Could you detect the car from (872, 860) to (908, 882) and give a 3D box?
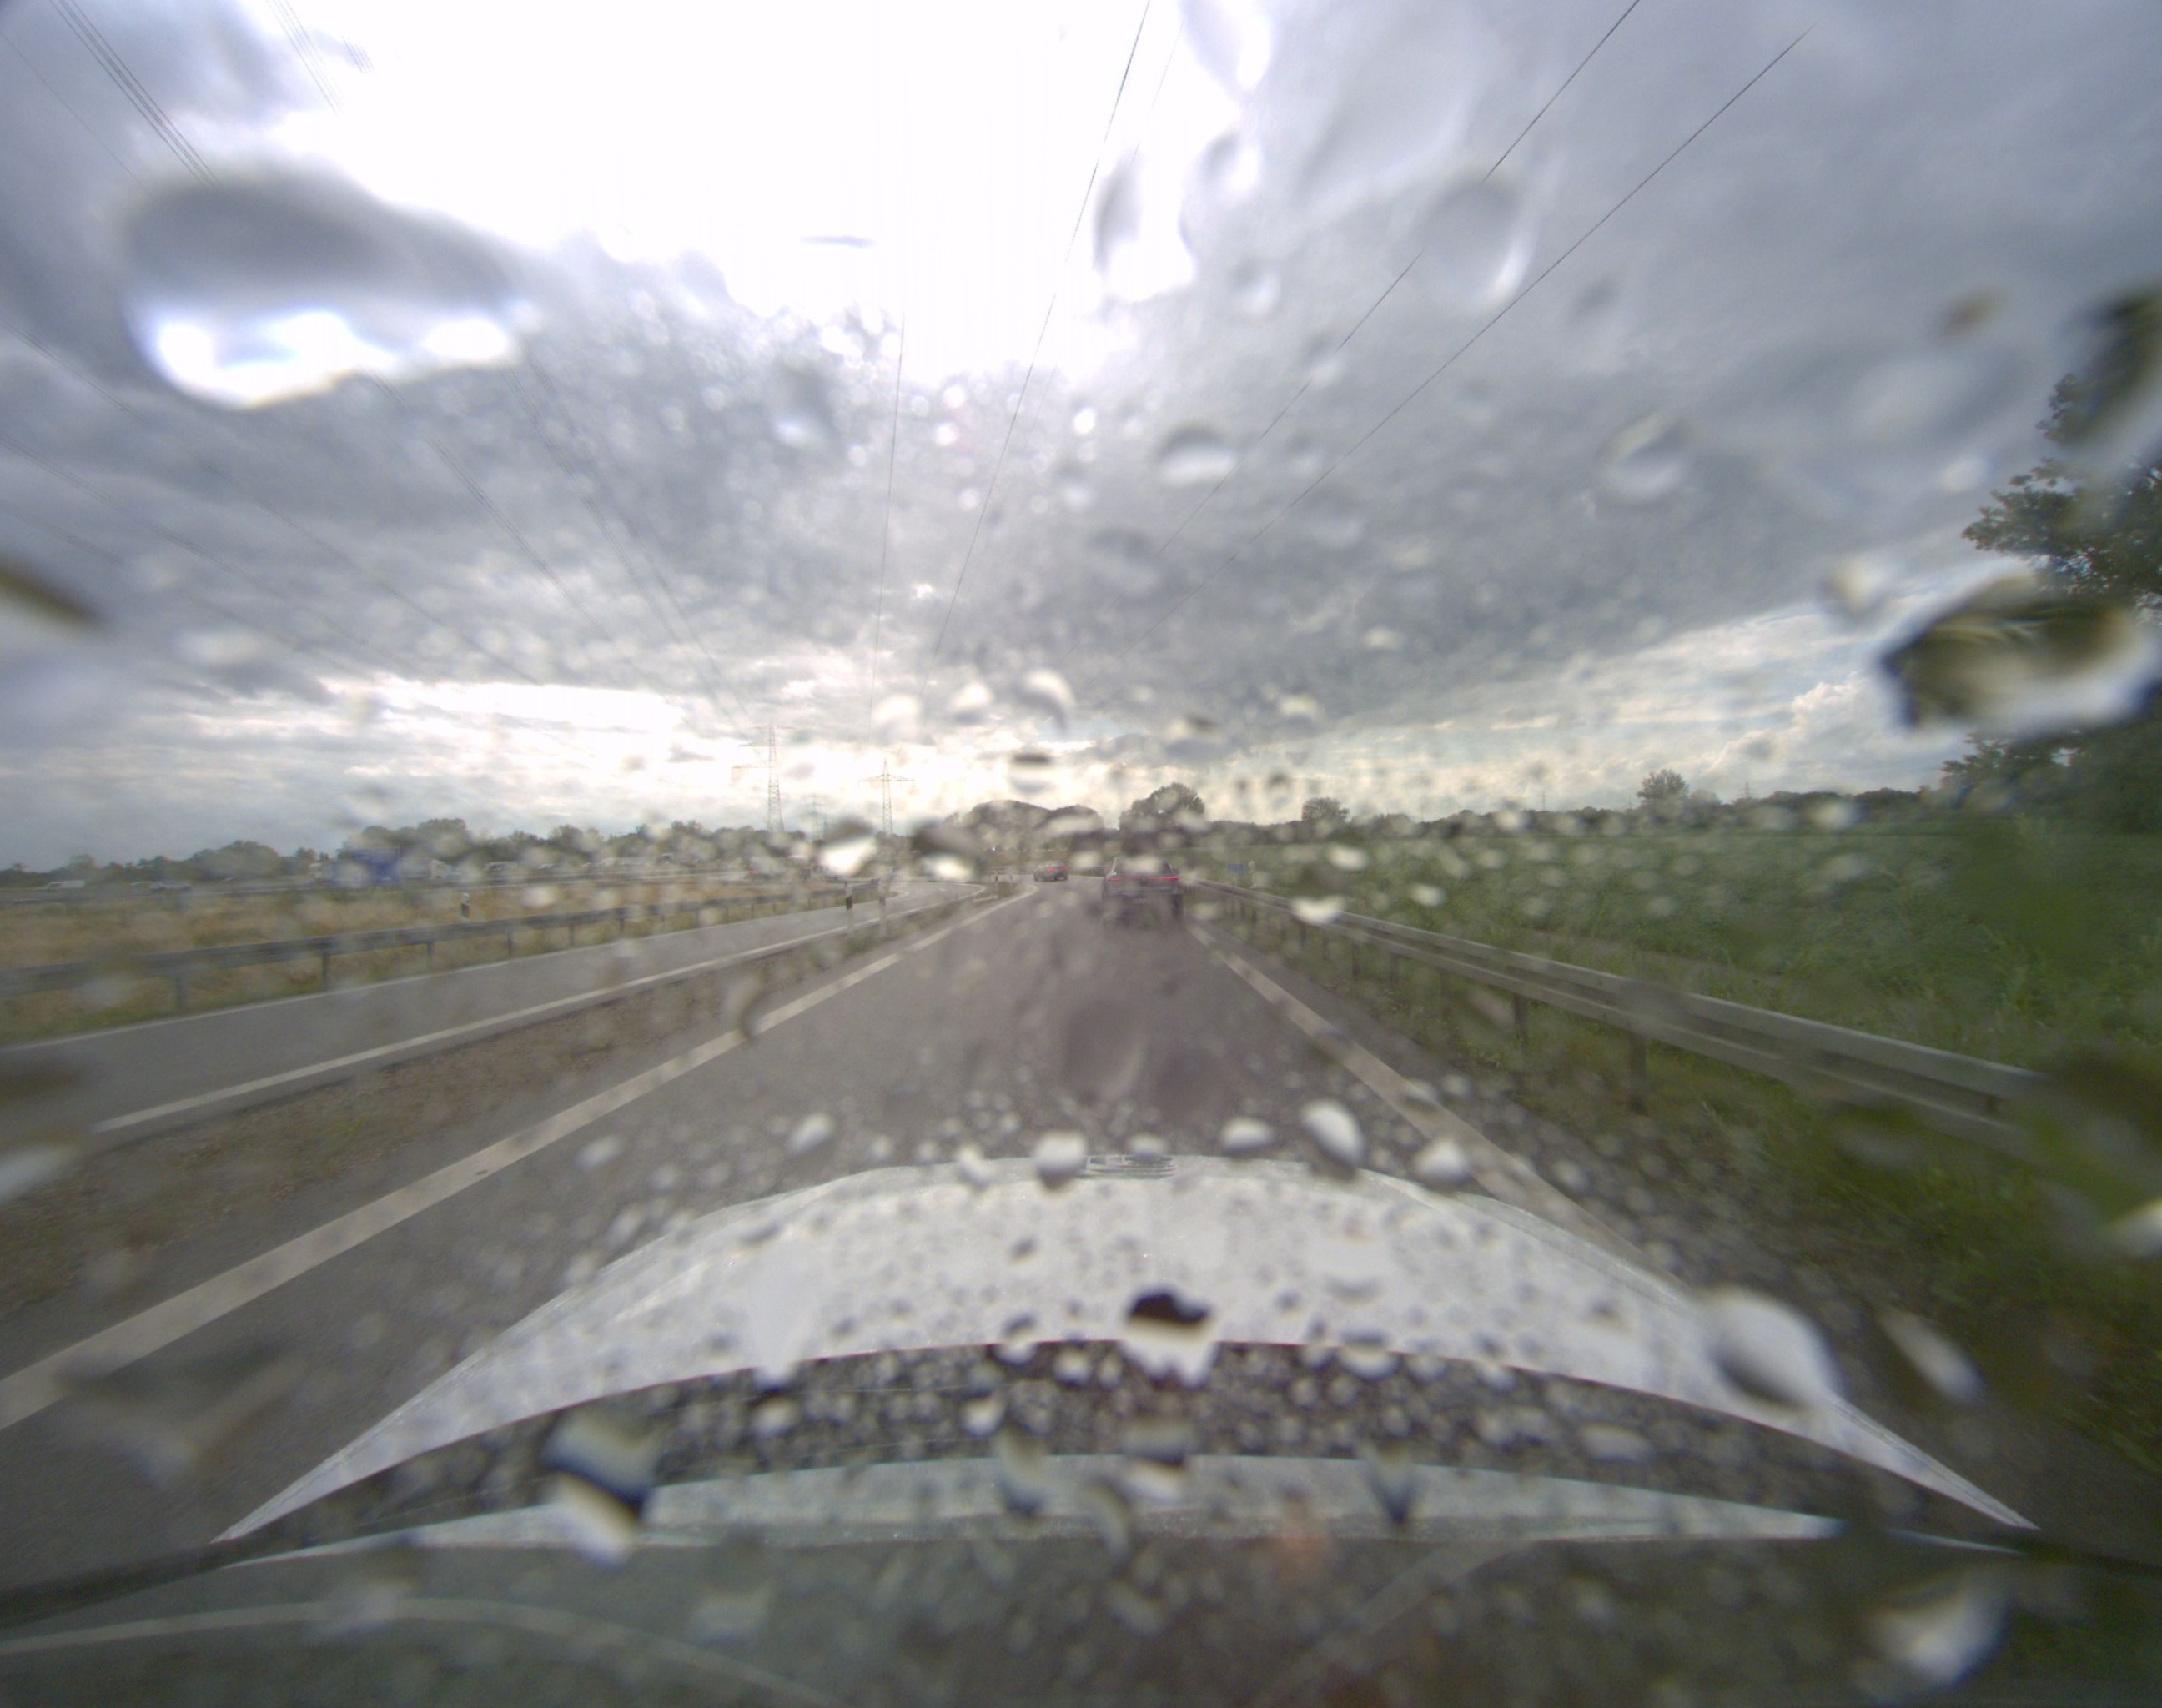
[{"bbox_3d":[-22.832,1.945,97.209,2.370,2.306,5.072,-4,3,-36],"label":"car"}]

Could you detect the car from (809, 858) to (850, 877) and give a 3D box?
[{"bbox_3d":[-33.020,1.755,106.741,5.062,2.306,2.374,0,3,34],"label":"car"}]

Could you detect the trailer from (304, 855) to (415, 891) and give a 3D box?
[{"bbox_3d":[-113.301,2.830,128.335,3.024,4.634,13.363,-1,2,16],"label":"trailer"}]

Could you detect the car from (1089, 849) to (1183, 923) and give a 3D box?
[{"bbox_3d":[1.320,0.687,19.604,1.985,1.566,4.153,-1,0,4],"label":"car"}]

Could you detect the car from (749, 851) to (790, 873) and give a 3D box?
[{"bbox_3d":[-46.689,1.162,121.848,3.164,2.951,7.121,-4,3,-43],"label":"car"}]

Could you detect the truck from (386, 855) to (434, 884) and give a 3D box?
[{"bbox_3d":[-111.287,2.527,135.055,3.045,4.478,5.095,-1,2,15],"label":"truck"}]

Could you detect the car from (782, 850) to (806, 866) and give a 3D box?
[{"bbox_3d":[-69.783,0.877,198.181,3.380,3.610,9.022,-2,0,-7],"label":"car"}]

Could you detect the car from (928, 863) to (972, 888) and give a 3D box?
[{"bbox_3d":[-13.586,2.173,84.176,2.370,2.306,5.072,-4,3,-36],"label":"car"}]

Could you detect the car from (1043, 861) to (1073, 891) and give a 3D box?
[{"bbox_3d":[-1.792,1.659,62.551,2.115,2.018,5.530,-2,1,-2],"label":"car"}]
